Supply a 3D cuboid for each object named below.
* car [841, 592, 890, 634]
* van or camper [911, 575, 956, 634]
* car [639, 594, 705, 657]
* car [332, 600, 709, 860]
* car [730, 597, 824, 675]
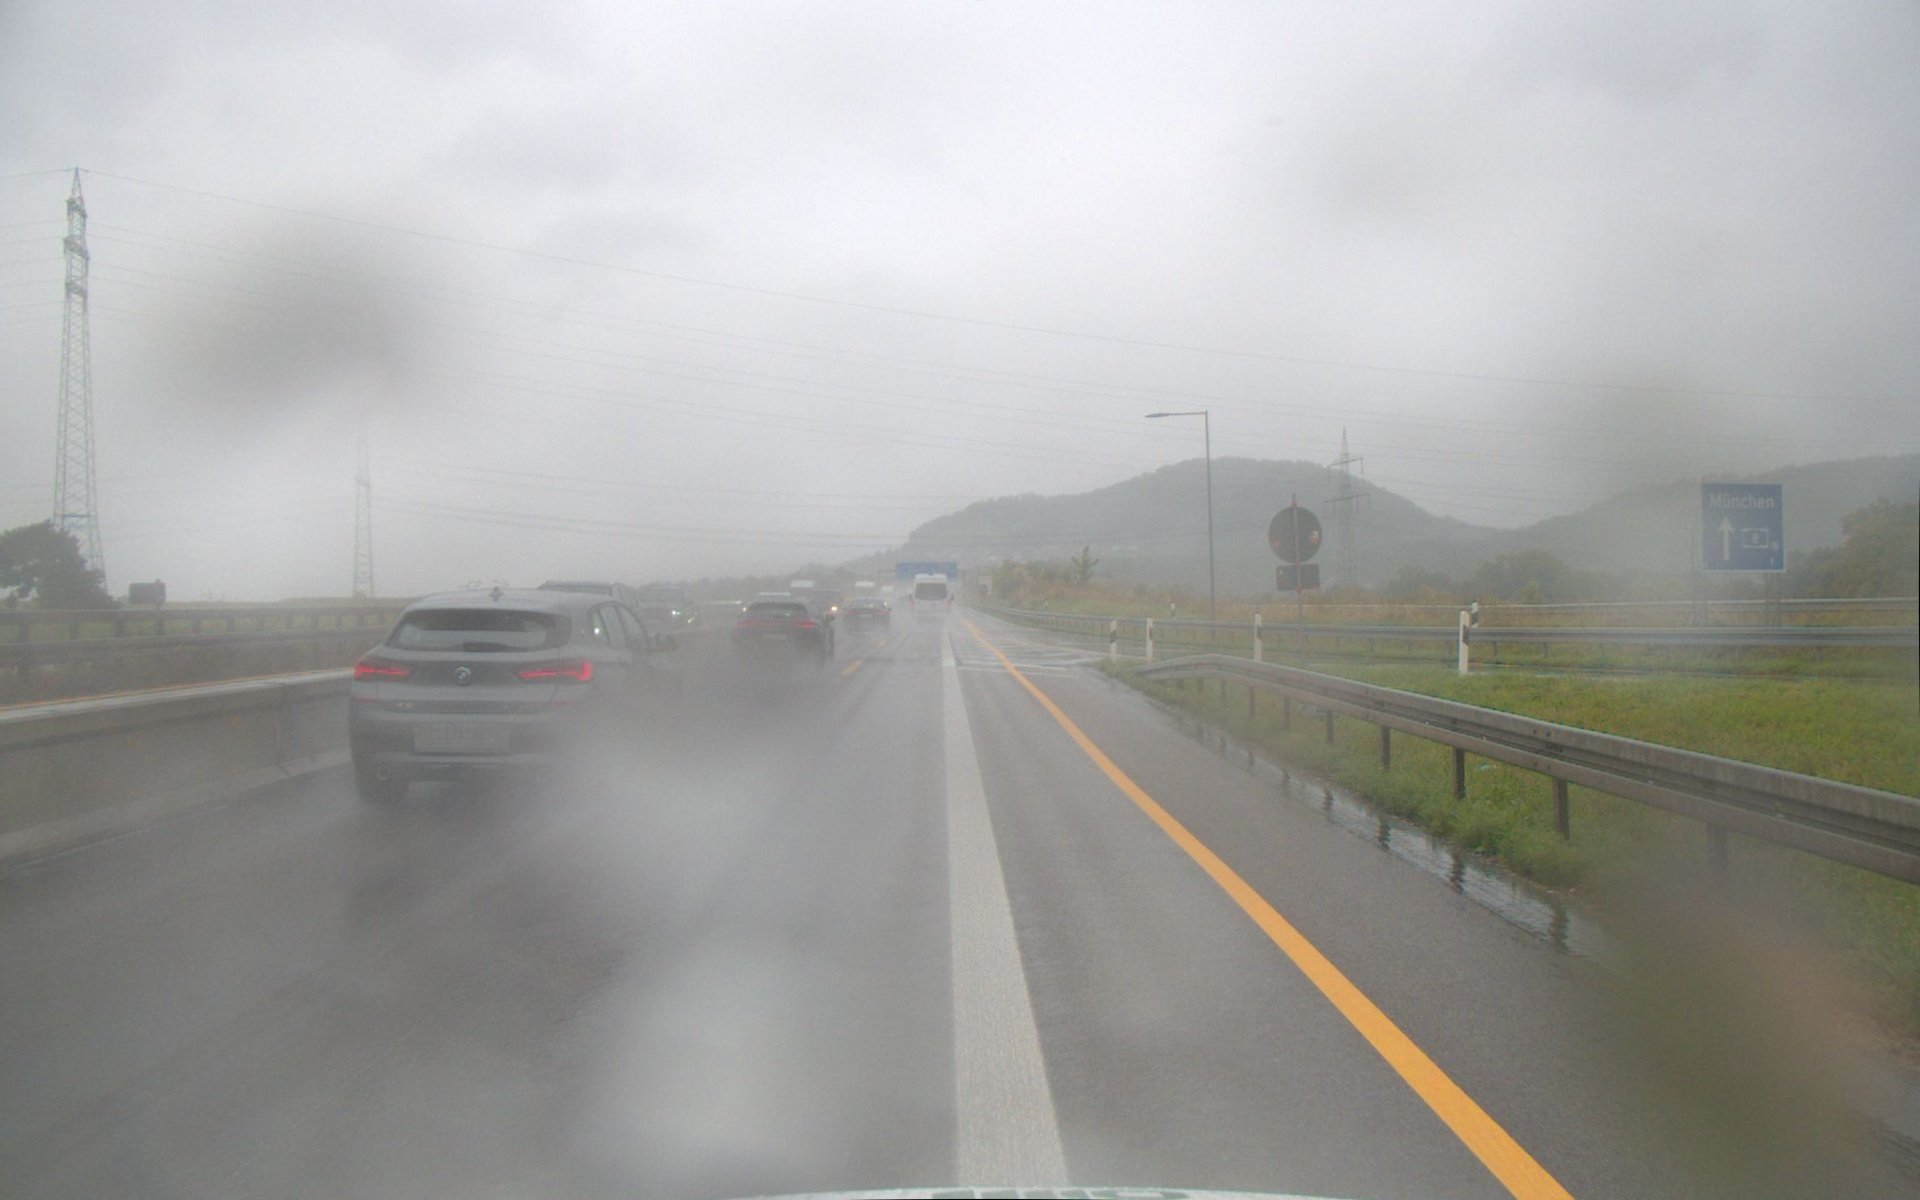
[{"bbox_3d":[-3.701,0.489,64.519,1.808,1.517,4.258,-2,0,-4],"label":"car"},{"bbox_3d":[-1.337,0.265,82.377,1.957,2.826,4.045,1,-1,-5],"label":"van or camper"},{"bbox_3d":[-10.288,0.883,59.295,1.799,2.048,3.999,1,2,-2],"label":"car"},{"bbox_3d":[-3.146,0.878,12.894,1.666,1.626,4.844,1,-1,-1],"label":"car"},{"bbox_3d":[-3.797,0.767,34.851,1.808,1.517,4.257,1,-1,-5],"label":"car"}]
